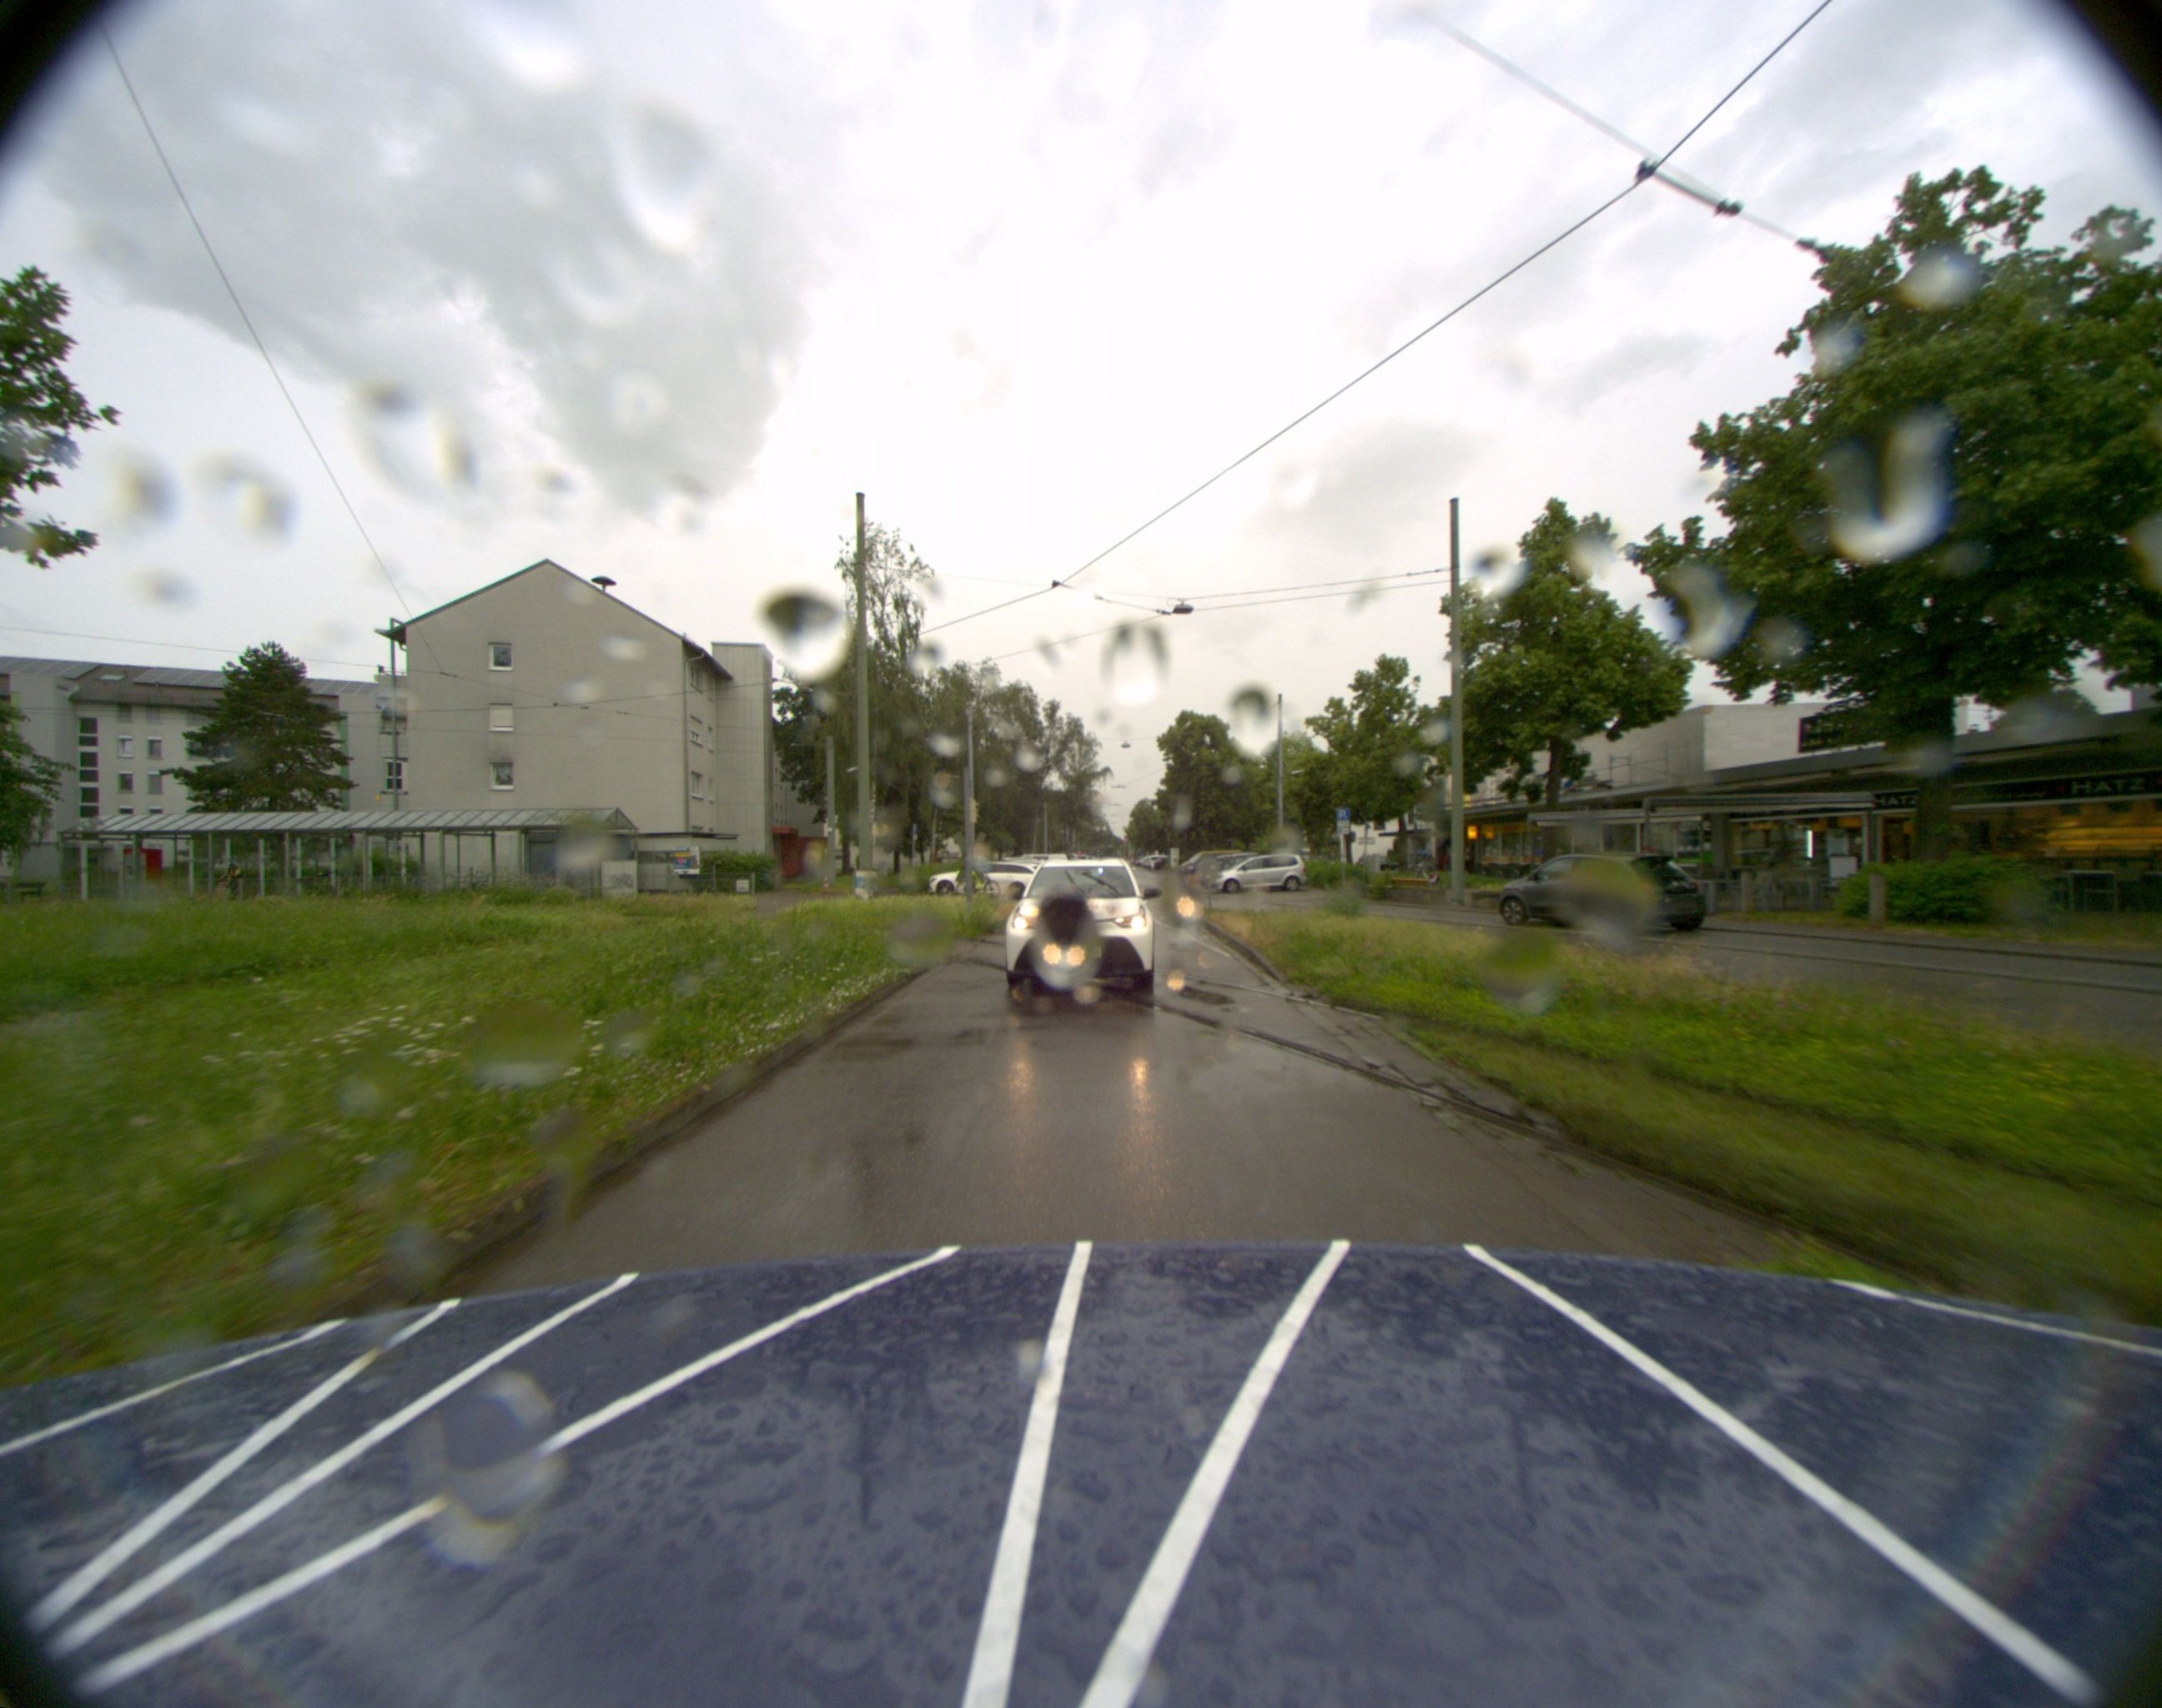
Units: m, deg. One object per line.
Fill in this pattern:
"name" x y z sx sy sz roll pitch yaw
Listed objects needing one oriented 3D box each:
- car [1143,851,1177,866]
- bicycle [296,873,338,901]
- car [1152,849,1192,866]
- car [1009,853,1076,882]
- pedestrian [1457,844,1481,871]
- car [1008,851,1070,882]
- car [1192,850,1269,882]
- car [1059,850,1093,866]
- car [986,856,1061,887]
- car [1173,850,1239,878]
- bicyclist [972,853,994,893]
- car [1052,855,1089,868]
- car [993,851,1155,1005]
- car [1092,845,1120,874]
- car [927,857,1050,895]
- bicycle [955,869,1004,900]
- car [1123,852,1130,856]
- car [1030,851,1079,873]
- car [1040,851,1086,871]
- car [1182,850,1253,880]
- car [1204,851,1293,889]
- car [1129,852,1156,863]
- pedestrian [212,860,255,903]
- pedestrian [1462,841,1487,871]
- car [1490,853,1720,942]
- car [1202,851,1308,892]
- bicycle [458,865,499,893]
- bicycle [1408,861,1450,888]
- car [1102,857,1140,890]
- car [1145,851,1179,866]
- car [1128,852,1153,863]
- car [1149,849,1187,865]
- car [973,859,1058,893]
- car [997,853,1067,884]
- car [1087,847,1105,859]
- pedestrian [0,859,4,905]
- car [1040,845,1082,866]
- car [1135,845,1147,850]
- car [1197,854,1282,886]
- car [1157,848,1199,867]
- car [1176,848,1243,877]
"car" 11.179 0.667 107.747 4.545 1.931 1.899 -2 0 1
"bicycle" -27.897 1.192 27.757 0.418 0.942 1.306 -3 0 -14
"car" 10.943 0.428 91.900 4.545 1.931 1.899 -2 0 1
"car" -2.655 0.924 53.084 4.441 1.835 1.723 -3 0 3
"pedestrian" 22.718 0.214 44.481 1.078 1.575 0.949 0 1 13
"car" -3.058 0.930 55.962 4.442 2.050 1.722 -3 1 -1
"car" 8.678 0.683 44.434 4.088 1.699 1.899 -2 0 1
"car" -0.646 0.562 103.740 4.545 2.013 1.899 -2 0 1
"car" -3.247 0.977 43.356 3.996 1.576 1.723 -3 0 3
"car" 8.643 0.687 52.801 4.302 1.799 1.899 -2 0 1
"bicyclist" -3.778 0.728 29.223 0.699 1.507 0.724 -1 0 -17
"car" -1.304 0.960 97.061 4.545 1.574 1.899 -2 0 1
"car" 0.034 0.855 10.021 1.719 1.613 3.717 -1 -2 3
"car" 1.858 0.389 57.158 1.998 2.002 4.000 -3 0 1
"car" -3.828 0.900 31.981 4.837 1.449 2.000 1 0 3
"bicycle" -3.905 1.162 29.169 1.755 1.123 0.727 -1 -1 -17
"car" 15.732 0.071 263.371 1.998 1.320 4.000 -3 0 2
"car" -2.471 0.786 72.996 4.545 1.931 1.899 -2 0 1
"car" -1.843 0.738 78.339 4.545 1.931 1.899 -2 0 1
"car" 8.436 0.674 47.221 4.088 1.699 1.899 -2 0 1
"car" 8.124 0.766 37.139 3.944 1.664 1.794 -2 0 1
"car" 10.922 0.608 134.850 4.545 1.931 1.899 -2 0 1
"pedestrian" -31.684 1.023 28.413 0.636 1.563 0.789 -3 1 1
"pedestrian" 22.417 0.094 43.305 1.078 1.704 0.949 0 1 13
"car" 10.291 0.777 15.254 1.553 1.494 3.618 -3 0 -15
"car" 7.846 0.784 34.569 4.334 1.664 2.000 -2 0 1
"bicycle" -21.575 0.880 27.227 0.377 0.950 1.238 -3 0 5
"bicycle" 14.403 0.850 31.514 0.594 1.066 1.748 0 0 -15
"car" 2.295 1.039 42.568 1.961 1.544 4.000 -1 2 5
"car" 11.207 0.671 105.136 4.545 1.931 1.899 -2 0 1
"car" 10.929 0.603 139.748 4.545 1.931 1.899 -2 0 1
"car" 11.125 0.389 97.521 4.545 1.931 1.899 -2 0 1
"car" -3.252 1.085 38.087 3.996 1.477 1.723 -3 0 3
"car" -3.235 0.926 50.742 4.441 1.835 1.723 -3 0 3
"car" 3.759 -0.316 193.851 4.545 2.928 1.899 -2 0 1
"pedestrian" -45.461 1.192 31.249 1.051 1.873 1.192 -2 1 30
"car" -2.139 0.171 82.679 4.442 2.050 1.722 -3 1 -1
"car" 20.579 -2.218 259.073 3.996 1.688 2.000 -3 0 2
"car" 8.328 0.828 40.243 4.088 1.562 2.000 -2 0 1
"car" 11.158 0.405 87.669 4.545 1.931 1.899 -2 0 1
"car" 9.453 0.605 56.132 4.545 1.931 1.899 -2 0 1
